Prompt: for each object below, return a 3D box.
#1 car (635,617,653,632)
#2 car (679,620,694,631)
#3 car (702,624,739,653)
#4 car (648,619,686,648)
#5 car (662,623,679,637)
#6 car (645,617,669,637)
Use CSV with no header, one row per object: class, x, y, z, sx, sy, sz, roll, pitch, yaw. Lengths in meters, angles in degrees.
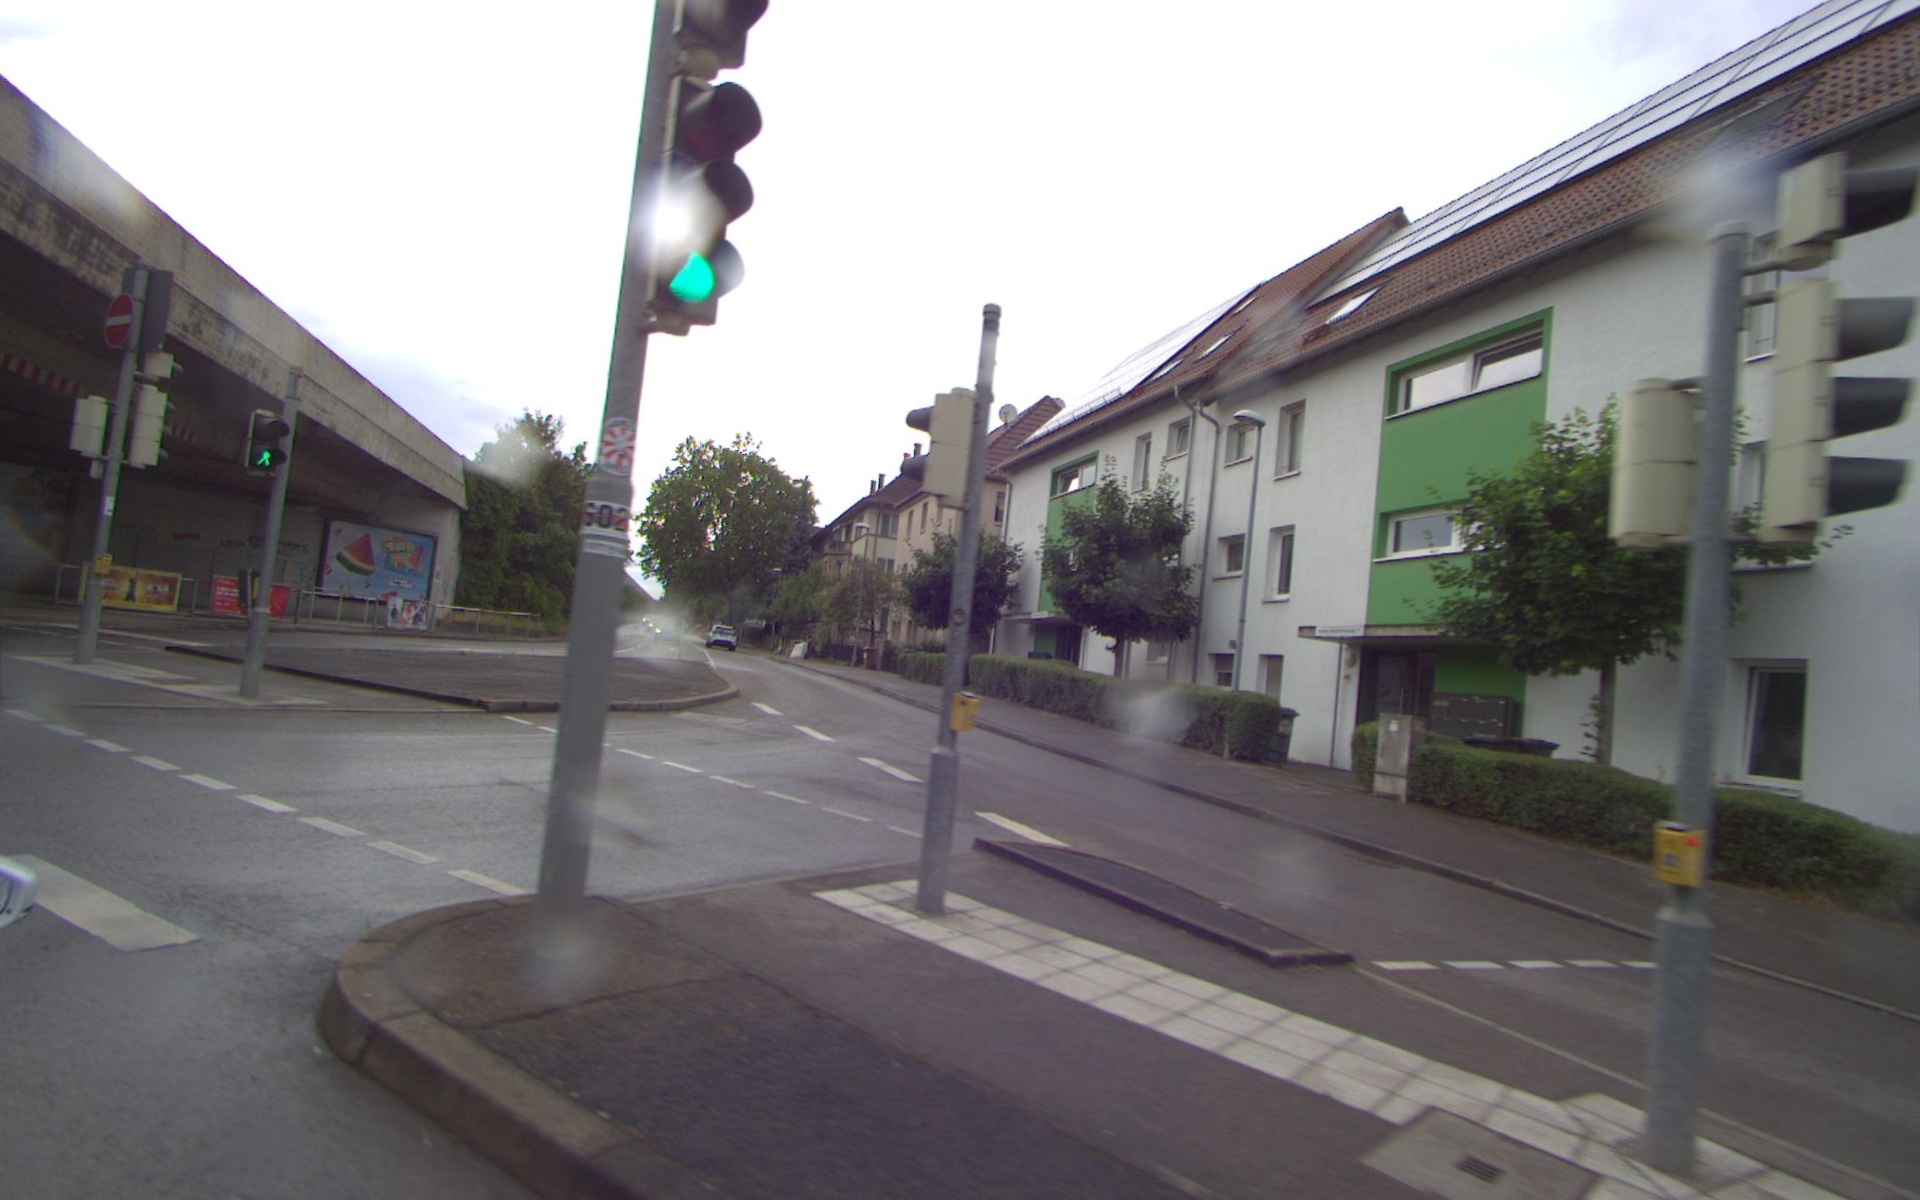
car,-39.829,3.081,126.744,1.856,1.546,3.985,9,-3,-20
car,-47.379,4.422,174.197,1.856,1.546,3.985,9,-3,-20
car,-15.695,2.480,65.695,1.855,1.546,3.988,9,-3,-18
car,-18.211,2.086,62.645,1.740,1.597,4.231,5,-3,-11
car,-40.359,4.194,140.154,1.856,1.546,3.985,9,-3,-20
car,-29.696,2.623,98.515,1.856,1.546,3.985,9,-3,-20
